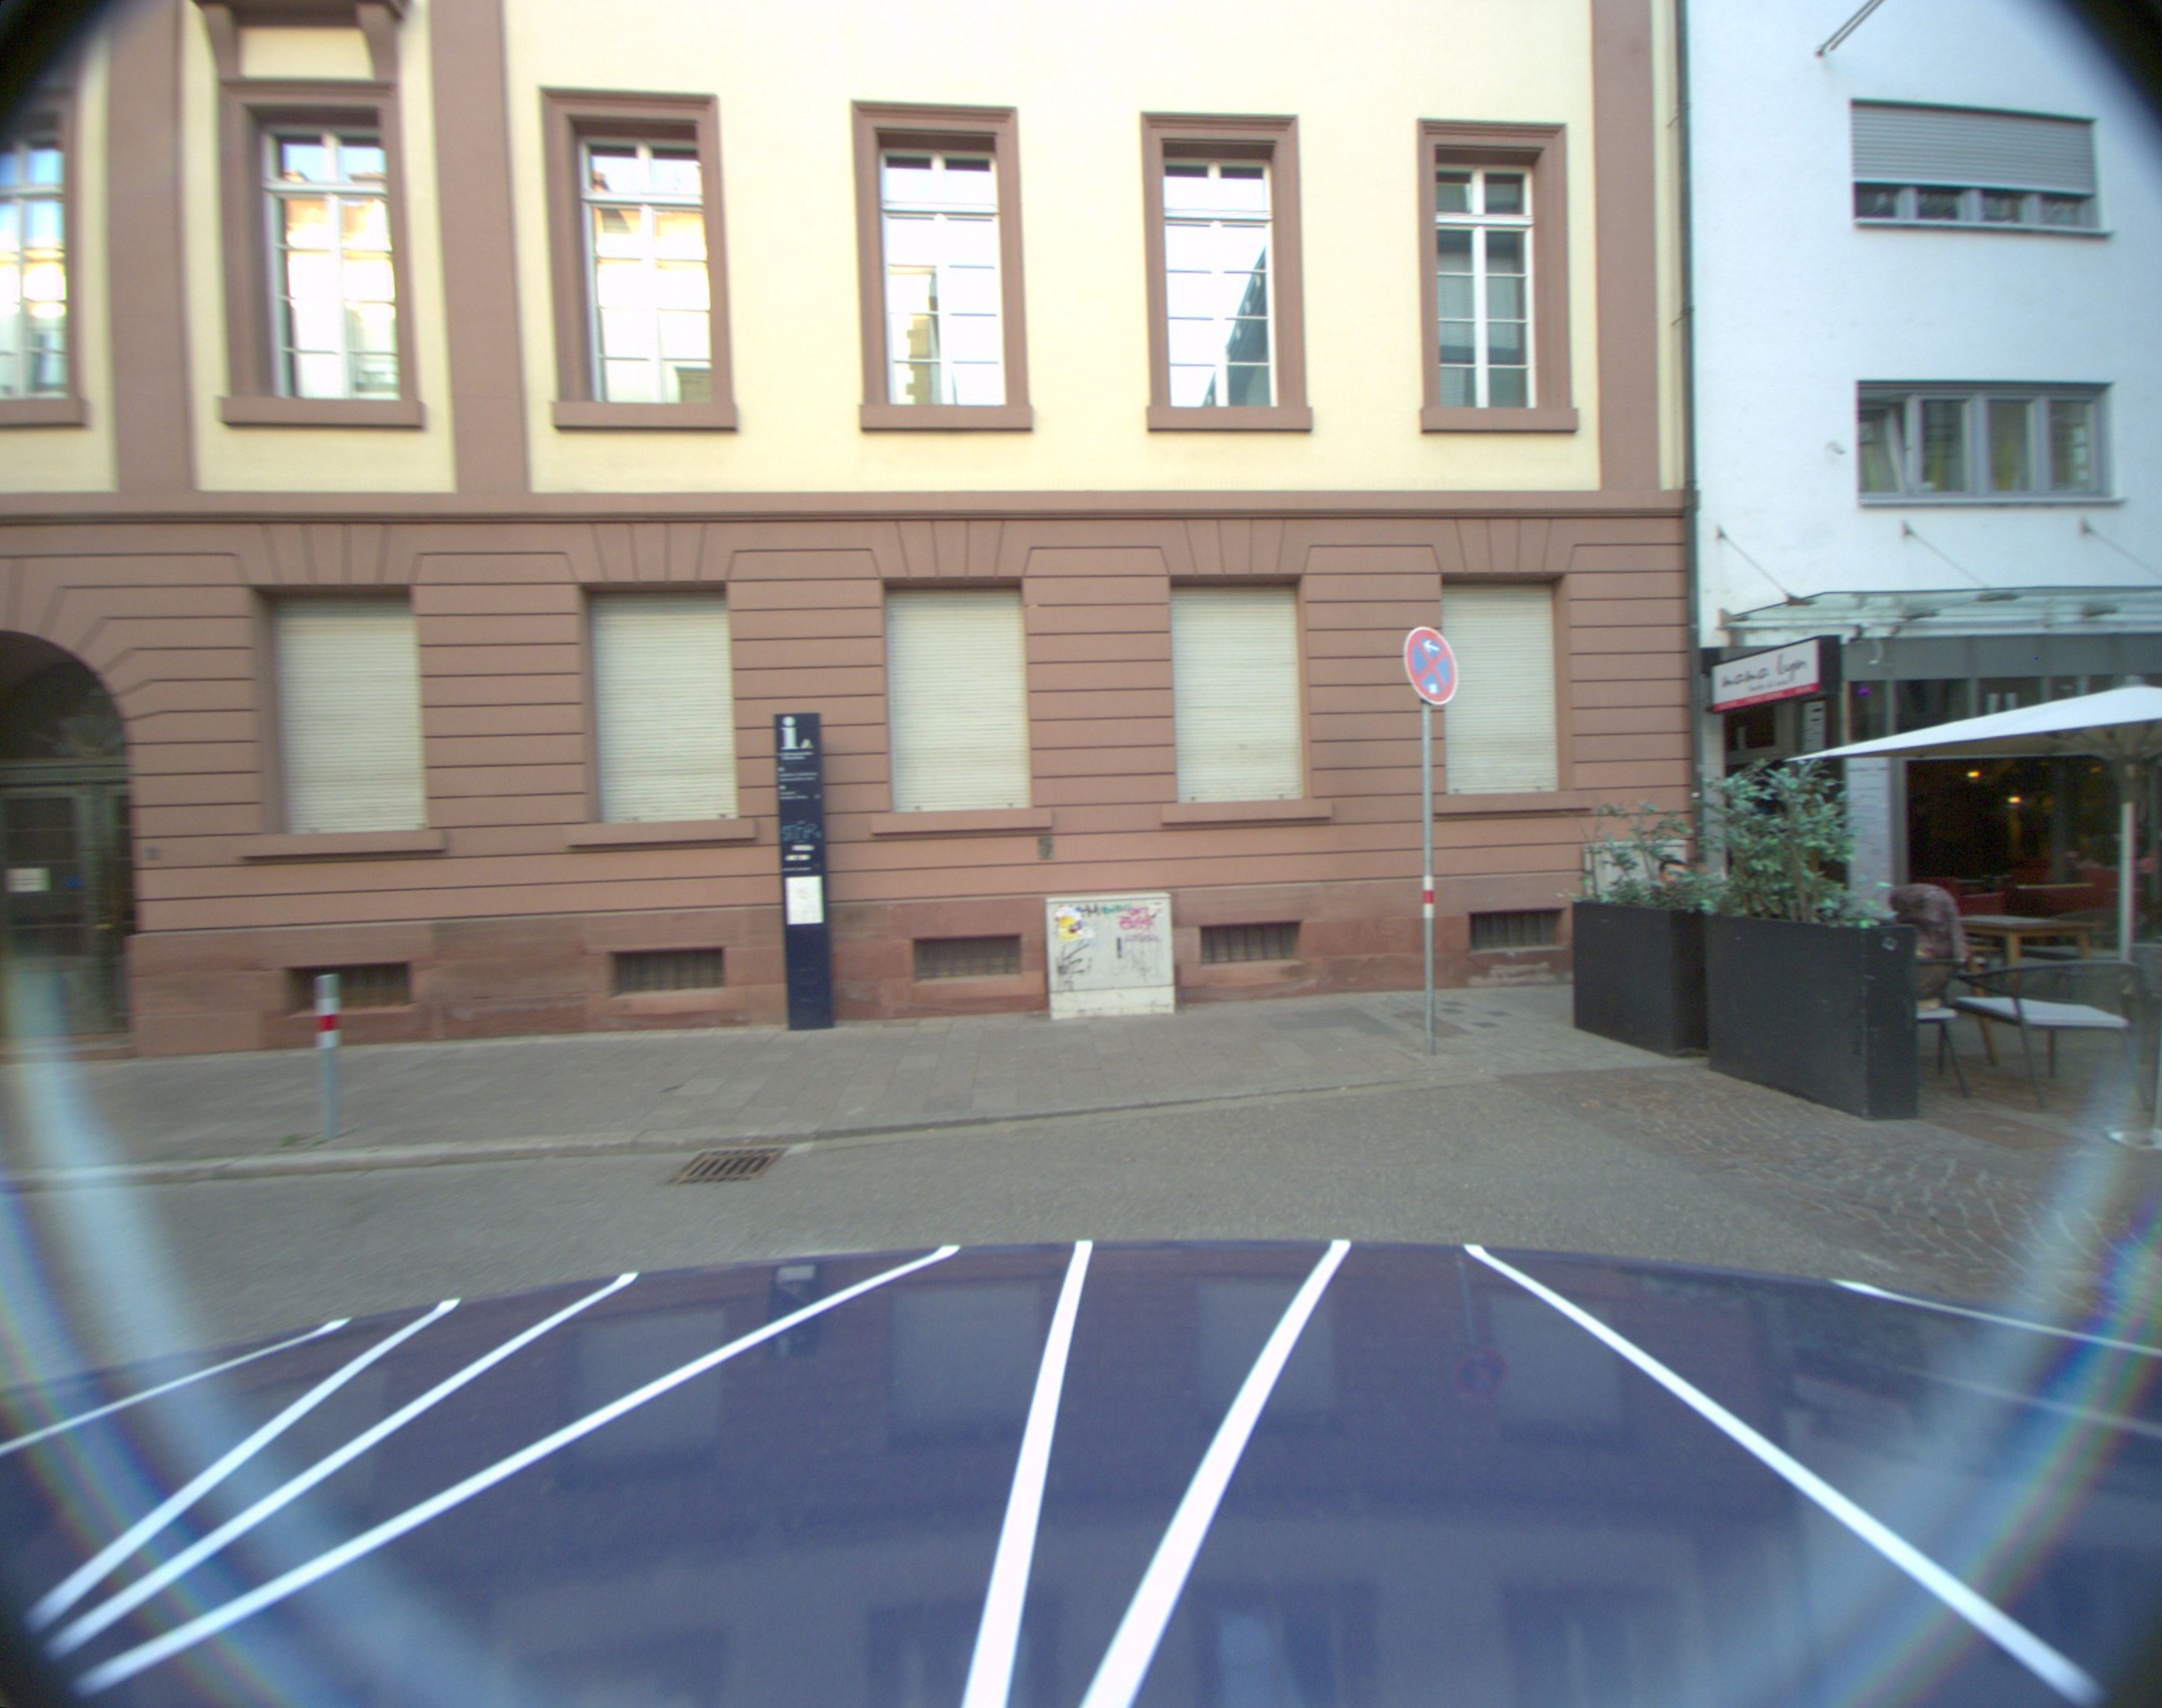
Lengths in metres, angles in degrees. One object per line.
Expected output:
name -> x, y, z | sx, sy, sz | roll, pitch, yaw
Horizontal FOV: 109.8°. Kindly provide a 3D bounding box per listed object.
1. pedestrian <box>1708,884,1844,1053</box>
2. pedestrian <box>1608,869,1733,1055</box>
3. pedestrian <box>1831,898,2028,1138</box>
pedestrian -> 5.360, 0.858, 5.883 | 0.549, 1.204, 0.524 | -2, 1, -2
pedestrian -> 4.516, 0.799, 5.843 | 0.549, 1.341, 0.488 | -2, 1, -2
pedestrian -> 4.657, 0.871, 4.197 | 0.562, 1.205, 0.461 | -2, 1, -2
